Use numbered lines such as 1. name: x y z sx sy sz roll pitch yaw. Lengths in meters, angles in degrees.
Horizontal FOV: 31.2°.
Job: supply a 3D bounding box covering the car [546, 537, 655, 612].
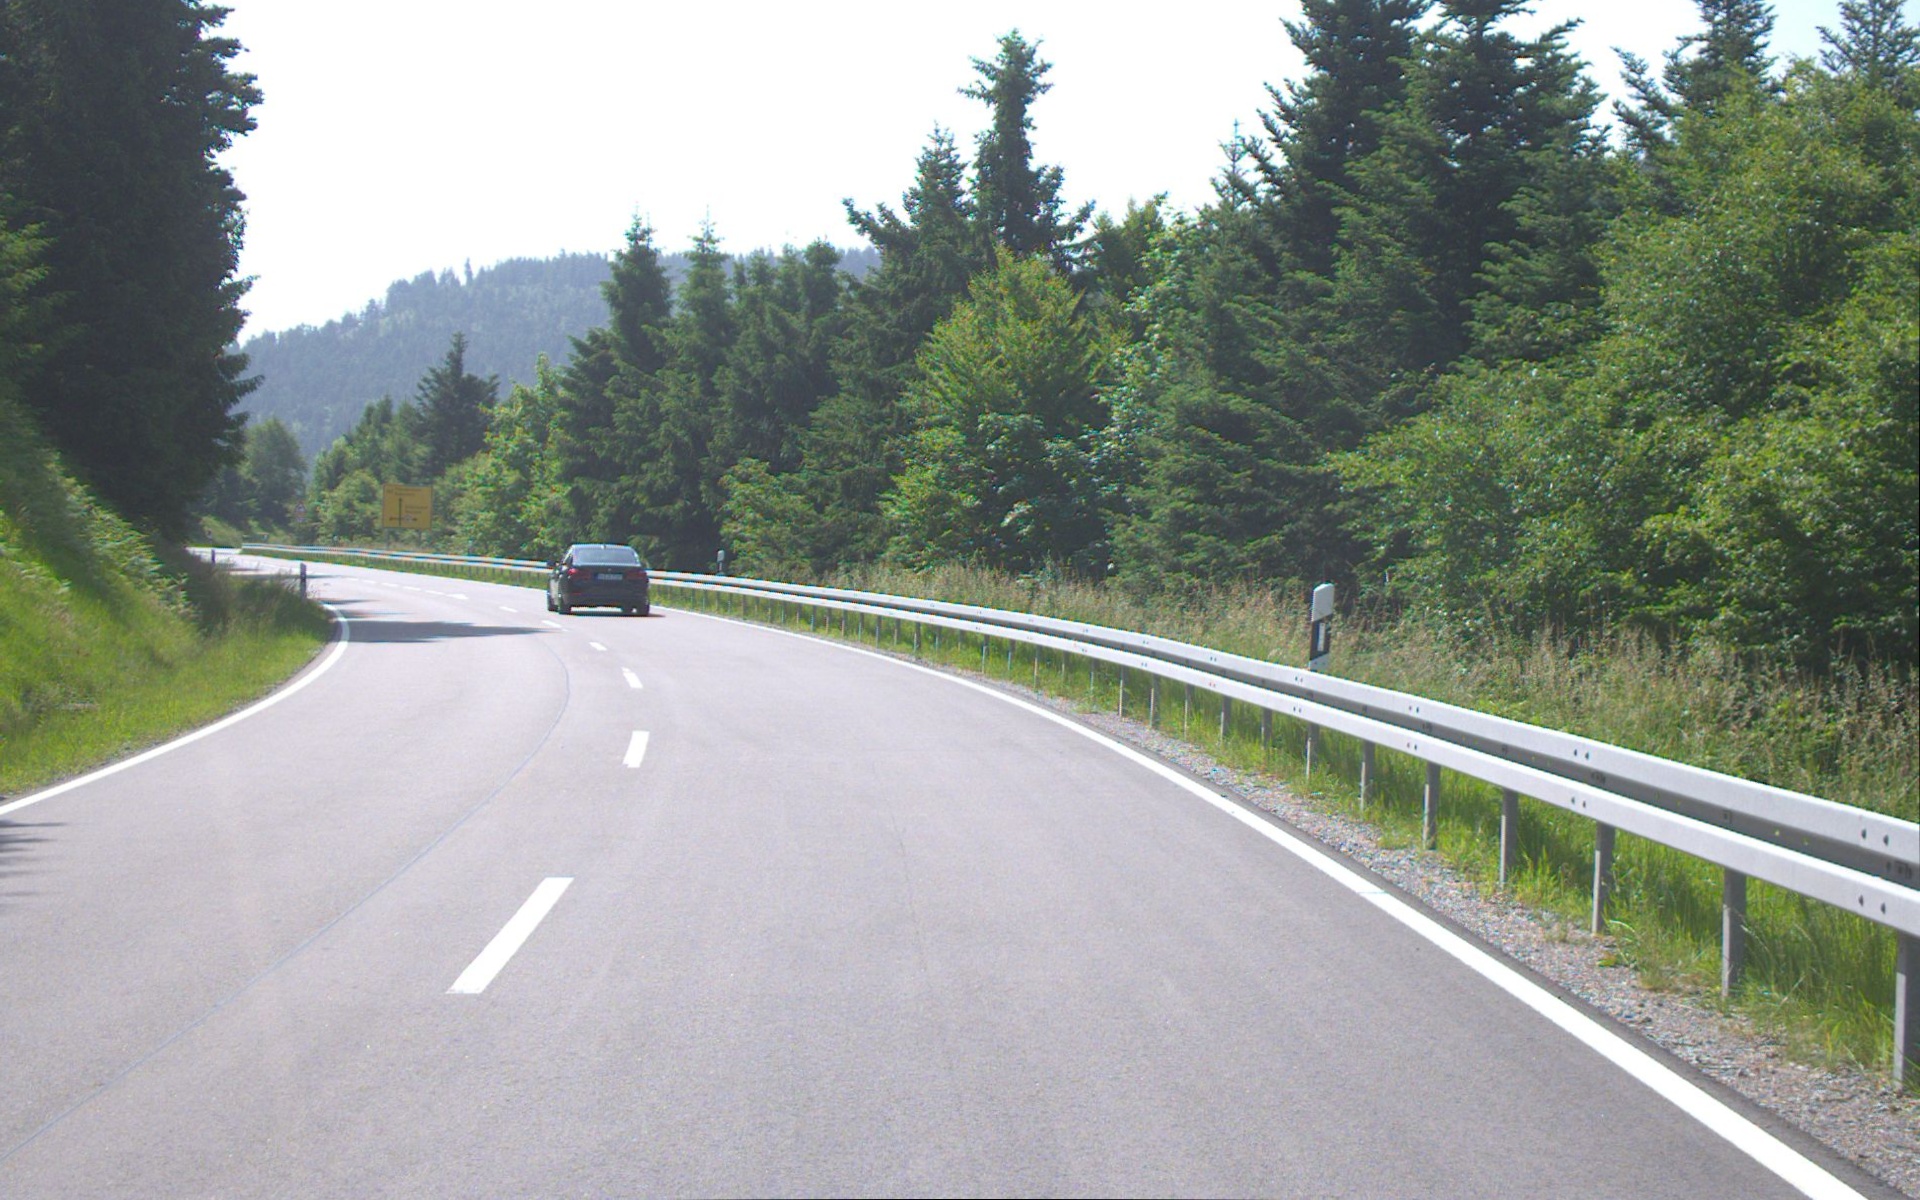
1. car: -7.293 -0.535 69.453 1.775 1.437 3.710 -1 1 -12
